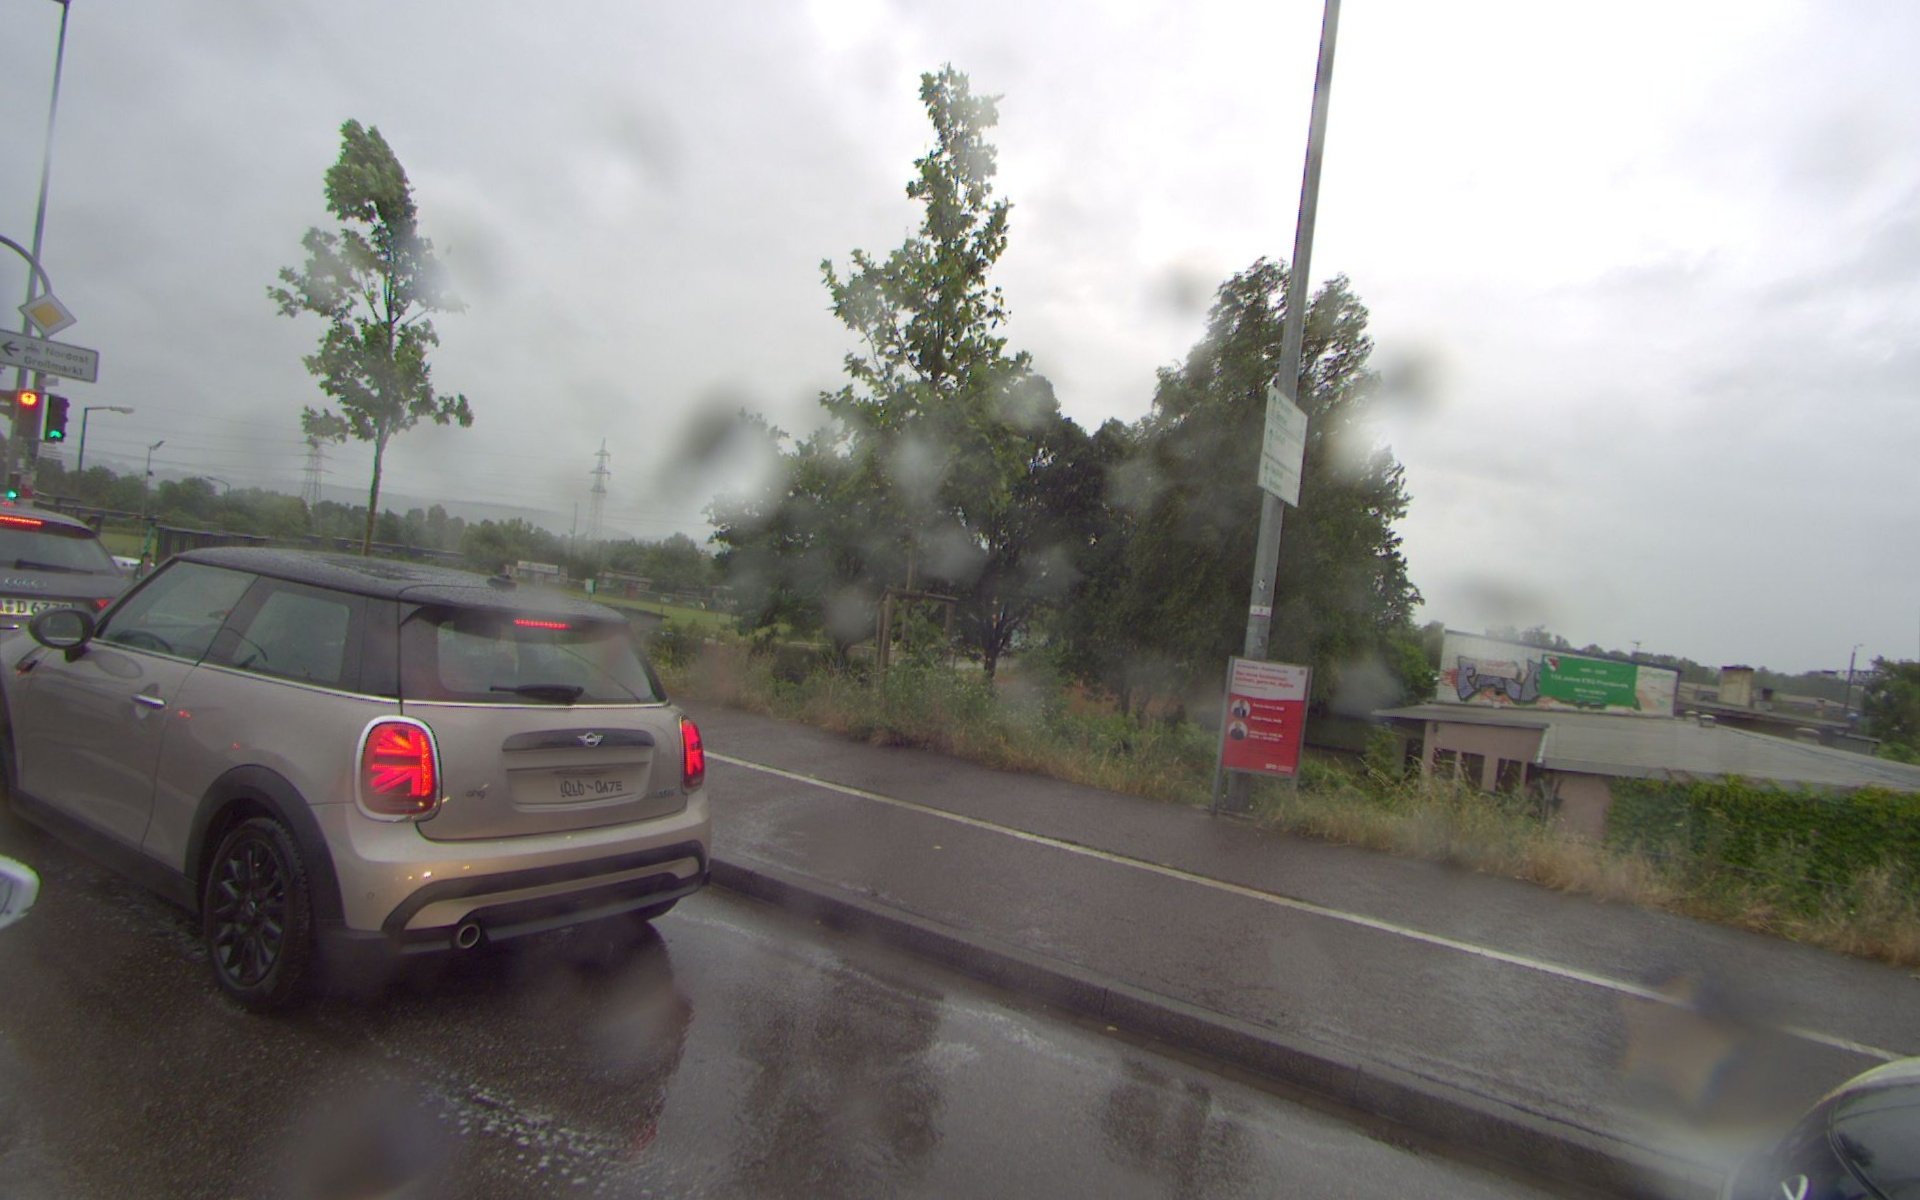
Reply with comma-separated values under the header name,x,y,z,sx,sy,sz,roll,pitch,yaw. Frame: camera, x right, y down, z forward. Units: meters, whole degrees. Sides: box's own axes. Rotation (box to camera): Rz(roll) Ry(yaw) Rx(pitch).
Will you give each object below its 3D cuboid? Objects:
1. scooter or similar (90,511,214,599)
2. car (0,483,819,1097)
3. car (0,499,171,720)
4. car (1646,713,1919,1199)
name,x,y,z,sx,sy,sz,roll,pitch,yaw
scooter or similar,-13.888,-0.796,17.255,2.971,1.226,0.691,7,0,33
car,-2.711,0.470,4.319,3.815,1.524,1.707,5,-4,32
car,-7.511,-0.072,7.255,3.570,1.383,1.600,5,-1,30
car,2.907,1.159,0.946,3.557,1.526,1.556,7,-1,32
